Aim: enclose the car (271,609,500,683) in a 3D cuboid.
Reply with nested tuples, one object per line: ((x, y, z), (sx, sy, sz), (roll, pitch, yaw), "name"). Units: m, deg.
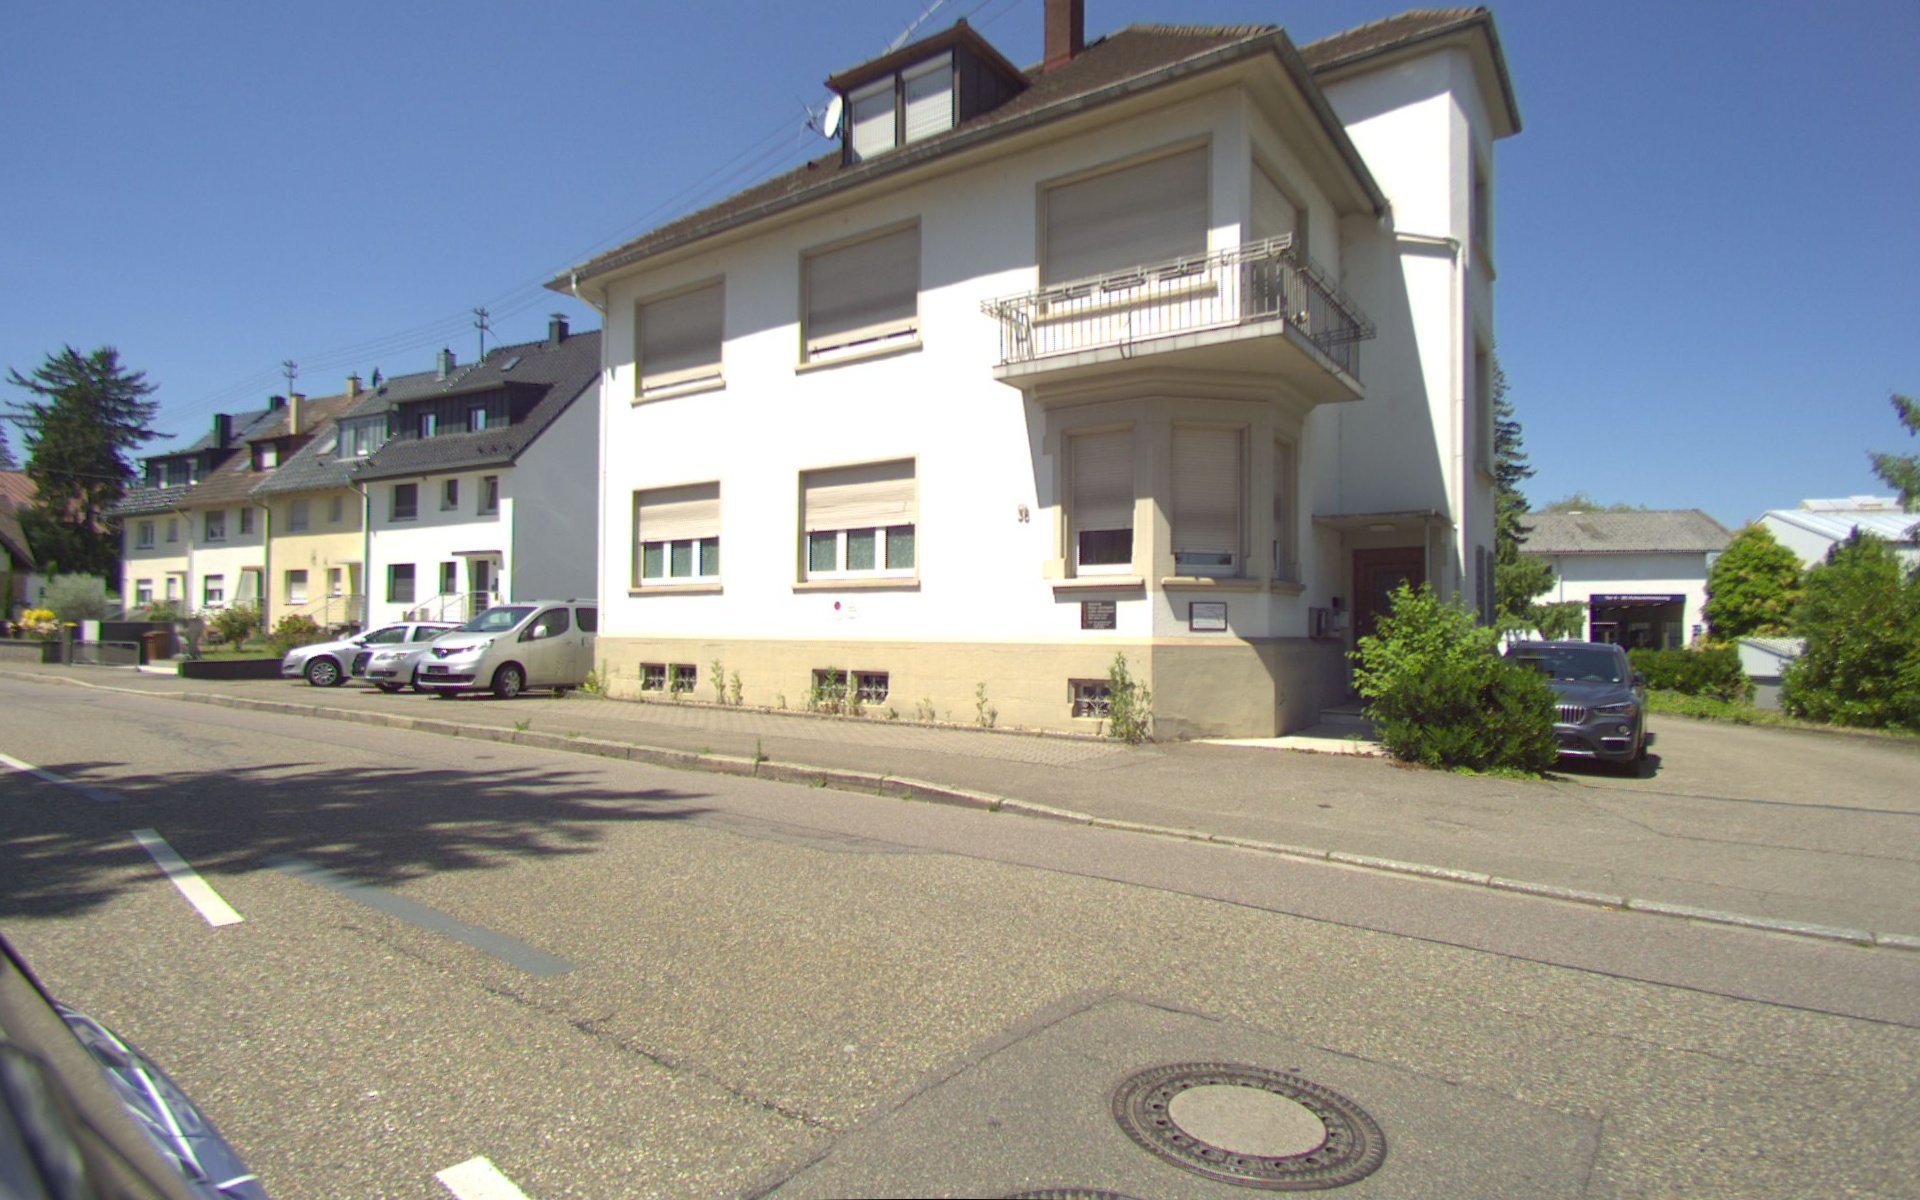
((-12.613, 1.052, 22.551), (4.201, 1.507, 1.882), (2, -3, -23), "car")

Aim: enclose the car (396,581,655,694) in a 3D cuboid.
((-8.114, 0.754, 19.360), (1.842, 1.891, 4.323), (-1, -4, 28), "car")

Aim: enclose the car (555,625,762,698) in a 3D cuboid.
((-7.144, 1.530, 24.381), (1.972, 1.507, 4.430), (-1, -6, 36), "car")

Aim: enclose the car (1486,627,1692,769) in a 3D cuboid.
((8.014, 1.131, 13.249), (1.553, 1.551, 3.906), (0, -2, 21), "car")

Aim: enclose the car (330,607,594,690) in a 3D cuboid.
((-10.083, 1.024, 20.802), (1.972, 1.507, 4.430), (-1, -4, 36), "car")
